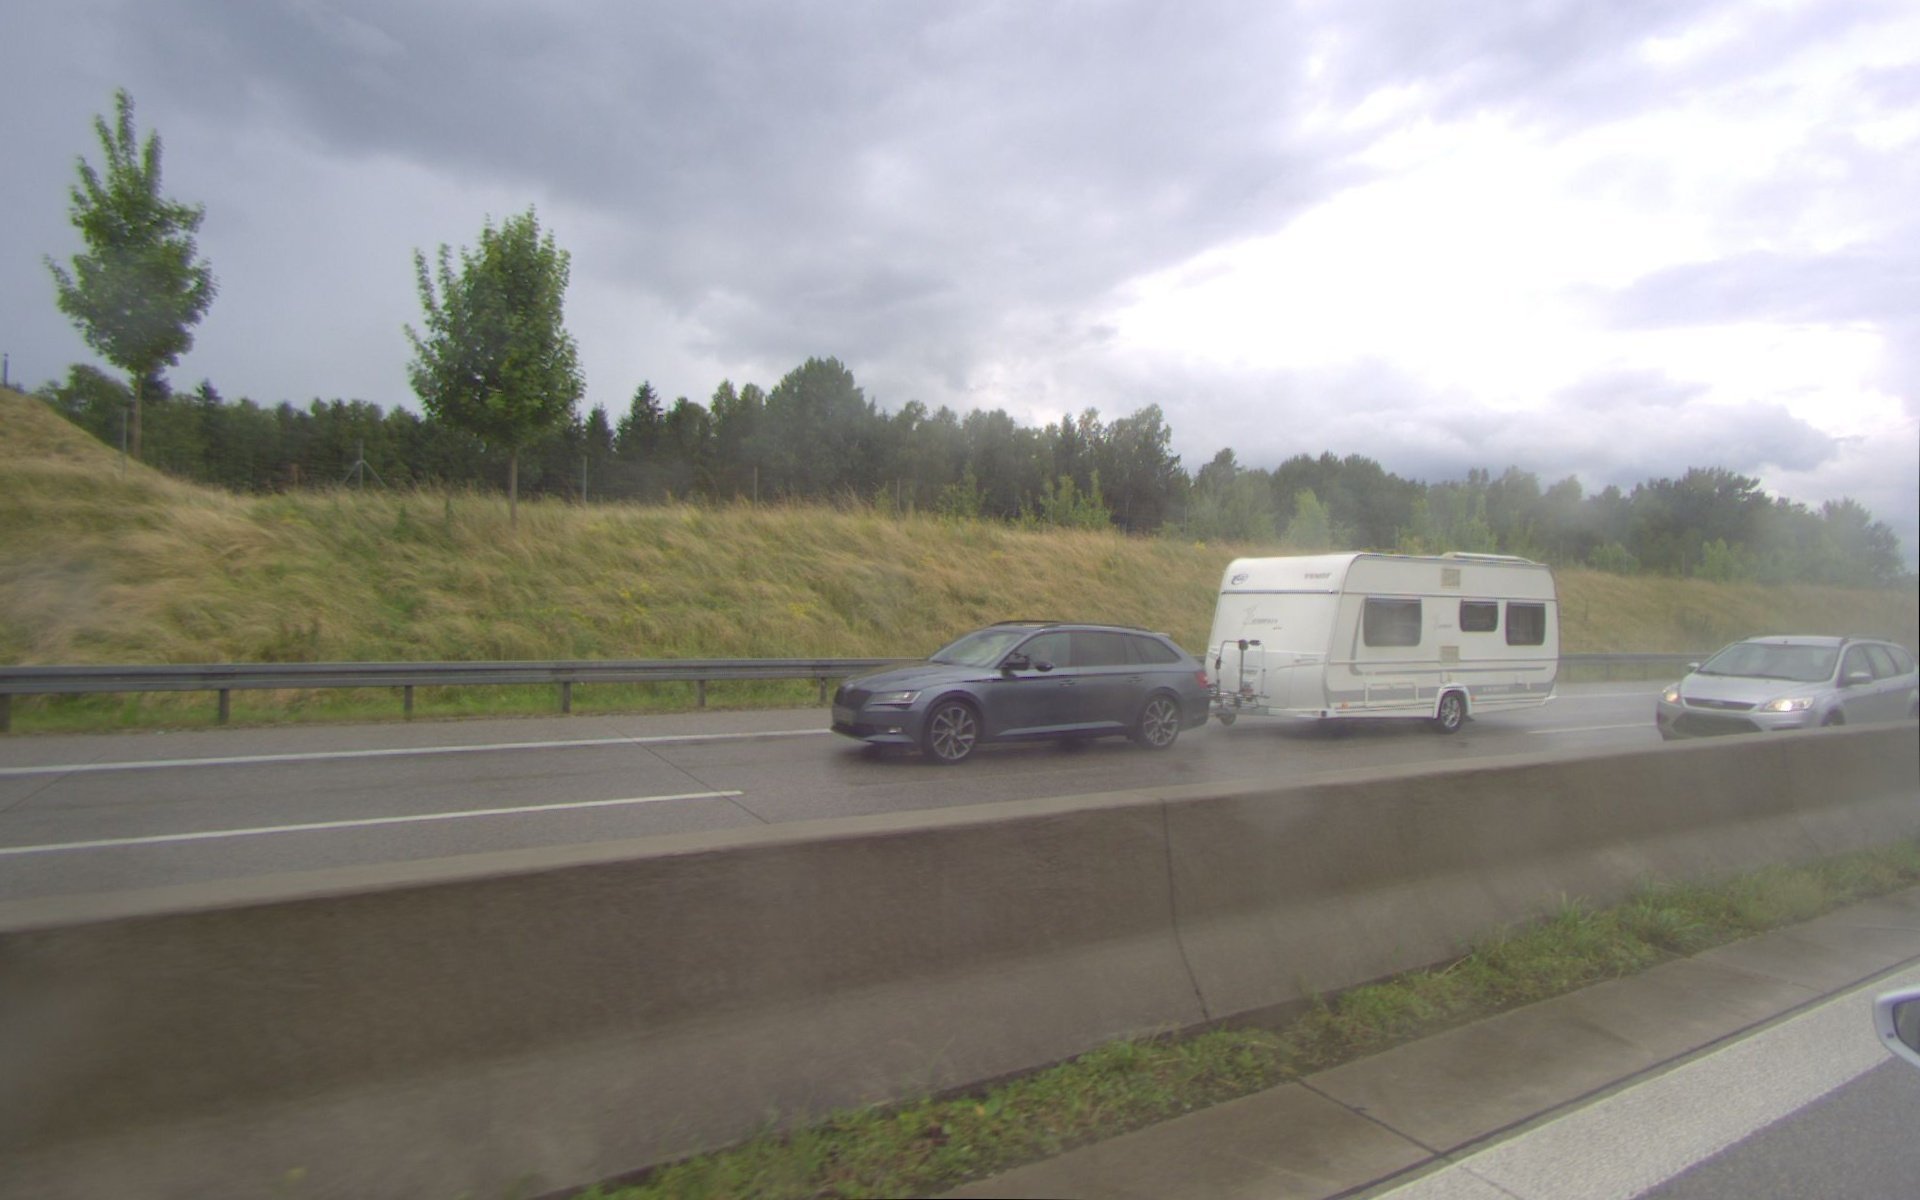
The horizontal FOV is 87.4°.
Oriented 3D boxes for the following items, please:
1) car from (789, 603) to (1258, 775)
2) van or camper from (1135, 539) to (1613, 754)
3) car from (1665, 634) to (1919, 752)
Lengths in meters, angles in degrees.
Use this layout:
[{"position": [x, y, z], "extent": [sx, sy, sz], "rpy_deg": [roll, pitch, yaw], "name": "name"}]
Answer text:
[{"position": [0.813, 0.895, 11.865], "extent": [5.120, 1.578, 2.275], "rpy_deg": [1, 1, -30], "name": "car"}, {"position": [6.497, 0.503, 15.260], "extent": [7.833, 2.630, 2.432], "rpy_deg": [-1, 2, -30], "name": "van or camper"}, {"position": [11.888, 1.162, 13.740], "extent": [4.457, 1.328, 1.984], "rpy_deg": [1, -1, -30], "name": "car"}]
